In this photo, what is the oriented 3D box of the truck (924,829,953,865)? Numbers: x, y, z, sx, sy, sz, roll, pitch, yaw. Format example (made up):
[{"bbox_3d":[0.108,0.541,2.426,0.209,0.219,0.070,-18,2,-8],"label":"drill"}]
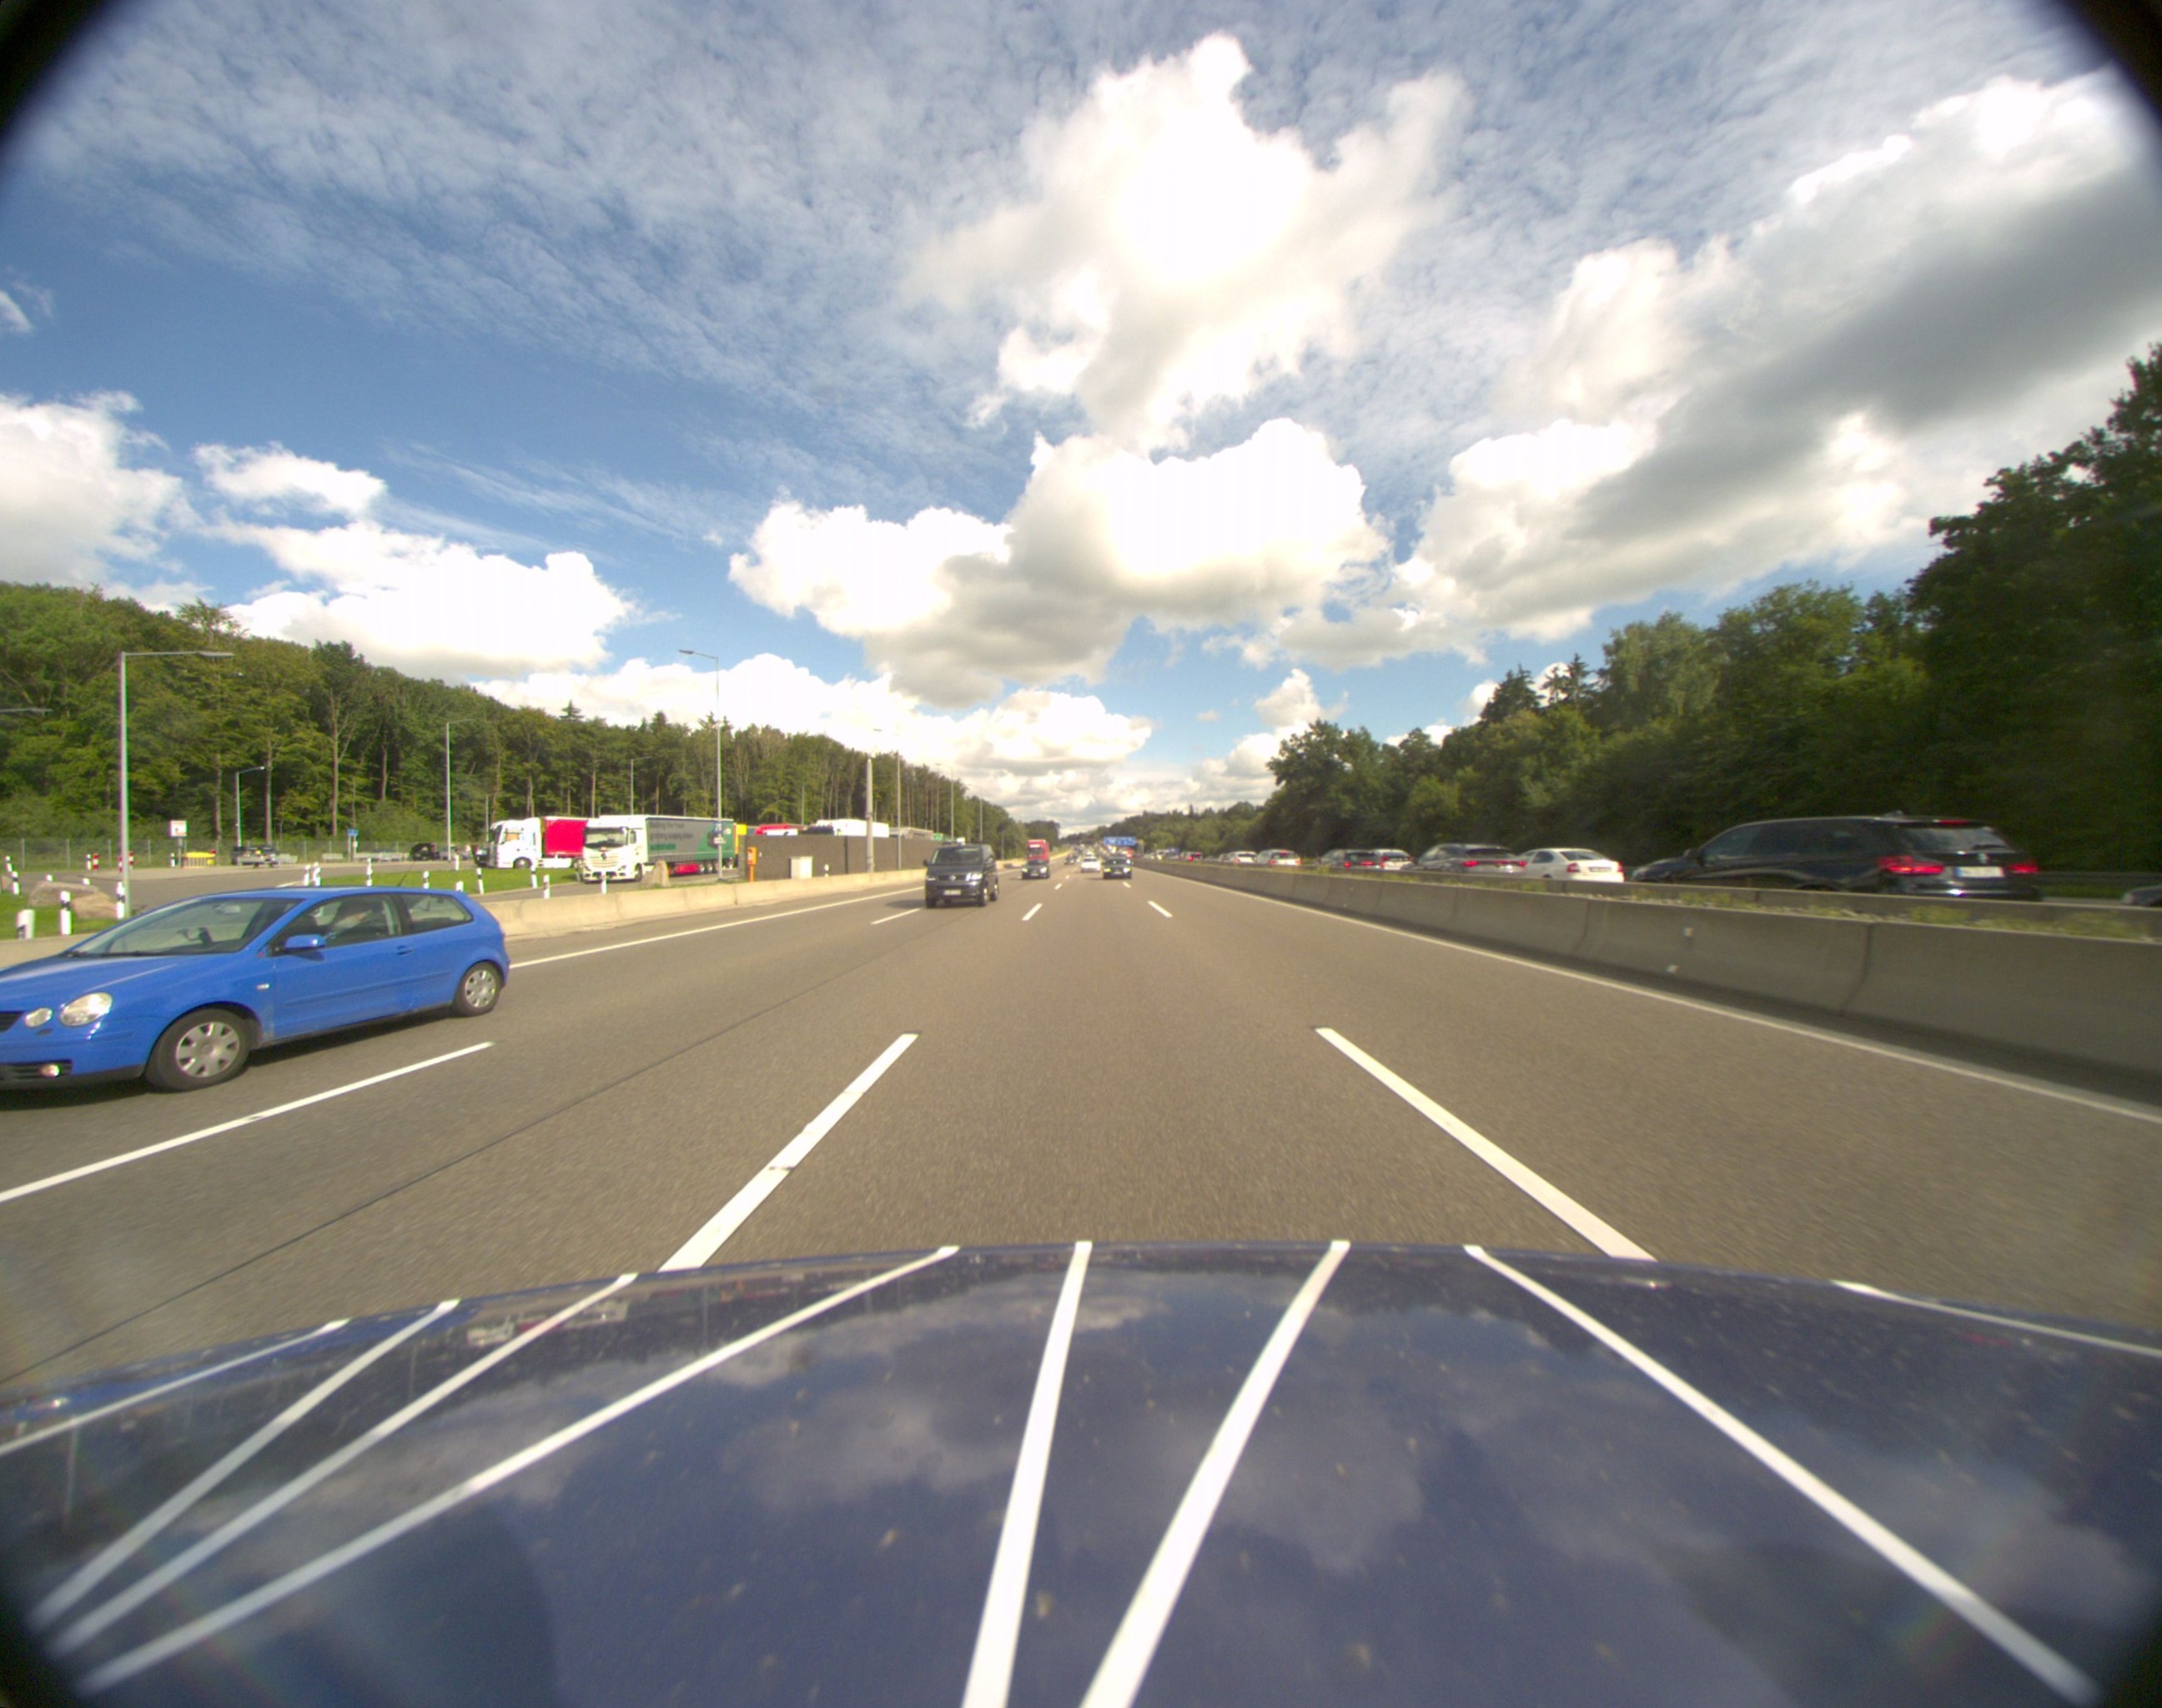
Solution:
[{"bbox_3d":[-19.945,-0.962,106.710,2.661,4.896,6.969,0,0,0],"label":"truck"}]

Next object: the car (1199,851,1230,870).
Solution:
[{"bbox_3d":[11.370,0.549,64.947,1.998,1.543,4.000,0,0,1],"label":"car"}]

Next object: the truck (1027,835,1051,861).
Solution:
[{"bbox_3d":[-6.266,-0.855,113.847,3.017,3.662,7.561,-1,0,1],"label":"truck"}]

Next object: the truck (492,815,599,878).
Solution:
[{"bbox_3d":[-40.216,-0.608,57.148,6.109,4.481,2.873,-2,1,-43],"label":"truck"}]

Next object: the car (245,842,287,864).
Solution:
[{"bbox_3d":[-62.751,-0.061,58.503,3.988,1.674,1.962,0,0,40],"label":"car"}]

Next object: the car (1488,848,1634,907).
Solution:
[{"bbox_3d":[14.491,0.639,23.294,1.672,1.608,4.550,0,0,1],"label":"car"}]

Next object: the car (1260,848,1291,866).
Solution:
[{"bbox_3d":[18.519,0.265,72.533,1.988,1.608,4.000,0,0,1],"label":"car"}]

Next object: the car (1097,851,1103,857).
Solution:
[{"bbox_3d":[6.575,-0.048,259.457,1.892,1.783,4.000,0,0,1],"label":"car"}]

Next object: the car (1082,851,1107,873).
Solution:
[{"bbox_3d":[1.180,0.690,69.697,2.153,1.800,5.098,-2,1,-1],"label":"car"}]

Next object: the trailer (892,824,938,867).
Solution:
[{"bbox_3d":[-19.984,-0.982,92.408,2.661,4.896,12.743,0,0,0],"label":"trailer"}]

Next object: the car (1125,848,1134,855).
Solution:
[{"bbox_3d":[11.291,-0.501,177.046,1.998,1.543,4.000,0,0,1],"label":"car"}]

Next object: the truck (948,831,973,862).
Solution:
[{"bbox_3d":[-19.597,-1.205,124.113,2.660,4.896,7.385,0,0,2],"label":"truck"}]

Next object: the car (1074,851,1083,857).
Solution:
[{"bbox_3d":[-0.678,-0.015,209.671,2.153,1.540,4.677,-1,0,1],"label":"car"}]

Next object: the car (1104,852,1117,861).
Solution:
[{"bbox_3d":[5.224,0.426,135.152,2.153,1.540,4.677,0,0,1],"label":"car"}]

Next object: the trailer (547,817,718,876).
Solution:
[{"bbox_3d":[-35.812,-0.667,61.231,11.406,4.348,2.838,-2,1,-42],"label":"trailer"}]

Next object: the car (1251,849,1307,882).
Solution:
[{"bbox_3d":[10.053,0.556,38.979,1.746,1.608,4.550,0,0,1],"label":"car"}]

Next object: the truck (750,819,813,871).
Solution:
[{"bbox_3d":[-27.382,-0.768,69.881,2.878,4.480,7.036,-1,0,1],"label":"truck"}]

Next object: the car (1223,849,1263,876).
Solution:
[{"bbox_3d":[9.985,0.511,47.005,1.665,1.608,4.000,0,0,1],"label":"car"}]

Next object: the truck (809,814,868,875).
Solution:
[{"bbox_3d":[-20.400,-0.746,64.390,2.661,4.896,6.985,0,0,0],"label":"truck"}]

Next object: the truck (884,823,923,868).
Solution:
[{"bbox_3d":[-20.043,-0.914,86.085,2.661,4.896,7.261,0,0,0],"label":"truck"}]

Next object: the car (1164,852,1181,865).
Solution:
[{"bbox_3d":[11.129,0.533,92.696,1.698,1.543,4.000,0,0,1],"label":"car"}]

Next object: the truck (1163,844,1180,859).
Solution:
[{"bbox_3d":[15.205,-0.452,128.291,2.368,2.444,5.239,0,0,1],"label":"truck"}]

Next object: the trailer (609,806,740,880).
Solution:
[{"bbox_3d":[-27.461,-0.666,52.368,2.880,4.480,12.996,0,0,-4],"label":"trailer"}]

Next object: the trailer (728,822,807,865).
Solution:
[{"bbox_3d":[-31.967,-1.052,78.222,2.999,4.001,12.077,-2,1,0],"label":"trailer"}]

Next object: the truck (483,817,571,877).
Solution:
[{"bbox_3d":[-43.325,-0.566,59.491,5.132,4.482,2.889,-1,1,-43],"label":"truck"}]

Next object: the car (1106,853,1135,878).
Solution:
[{"bbox_3d":[2.541,0.697,49.666,1.733,1.500,4.728,-2,0,1],"label":"car"}]

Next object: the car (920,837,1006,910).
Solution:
[{"bbox_3d":[-3.769,0.579,25.142,1.853,2.097,4.933,-2,0,2],"label":"car"}]

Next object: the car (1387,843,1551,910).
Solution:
[{"bbox_3d":[10.219,0.540,20.499,2.176,1.608,4.550,0,0,1],"label":"car"}]

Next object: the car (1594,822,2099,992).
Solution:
[{"bbox_3d":[10.578,0.598,11.394,2.176,1.936,5.396,0,0,1],"label":"car"}]

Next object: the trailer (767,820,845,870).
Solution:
[{"bbox_3d":[-27.359,-0.840,76.530,2.879,4.480,13.691,-1,0,0],"label":"trailer"}]

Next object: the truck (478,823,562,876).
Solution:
[{"bbox_3d":[-45.542,-0.372,61.777,5.181,4.093,2.565,-1,1,-43],"label":"truck"}]

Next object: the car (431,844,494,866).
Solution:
[{"bbox_3d":[-56.455,0.102,69.404,3.997,1.904,2.000,0,0,-1],"label":"car"}]

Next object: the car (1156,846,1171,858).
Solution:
[{"bbox_3d":[11.173,-0.230,103.199,1.634,1.543,4.000,0,0,1],"label":"car"}]

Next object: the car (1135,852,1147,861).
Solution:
[{"bbox_3d":[11.294,0.485,144.084,1.998,1.543,4.000,0,0,1],"label":"car"}]

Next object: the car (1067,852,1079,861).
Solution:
[{"bbox_3d":[-1.609,0.505,146.929,2.153,1.540,4.677,-1,0,1],"label":"car"}]

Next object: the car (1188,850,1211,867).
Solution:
[{"bbox_3d":[11.462,0.410,73.714,1.642,1.543,4.000,0,0,1],"label":"car"}]

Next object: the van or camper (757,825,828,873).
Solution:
[{"bbox_3d":[-20.100,-0.343,53.204,2.392,3.179,4.746,-1,0,12],"label":"van or camper"}]

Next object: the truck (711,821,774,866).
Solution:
[{"bbox_3d":[-31.993,-0.981,72.098,2.982,4.001,6.254,-2,1,0],"label":"truck"}]

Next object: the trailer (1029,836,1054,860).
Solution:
[{"bbox_3d":[-6.165,-0.906,120.565,3.017,3.662,13.576,-1,0,1],"label":"trailer"}]

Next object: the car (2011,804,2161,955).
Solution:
[{"bbox_3d":[14.209,0.303,8.104,2.176,1.828,5.259,0,0,1],"label":"car"}]

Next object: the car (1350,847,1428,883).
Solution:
[{"bbox_3d":[14.719,0.493,36.610,1.998,1.608,4.550,0,0,1],"label":"car"}]

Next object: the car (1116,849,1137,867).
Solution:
[{"bbox_3d":[5.087,0.439,85.361,2.152,1.800,5.099,-2,1,3],"label":"car"}]

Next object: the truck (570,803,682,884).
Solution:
[{"bbox_3d":[-27.011,-0.607,45.593,2.880,4.480,7.173,0,0,-5],"label":"truck"}]

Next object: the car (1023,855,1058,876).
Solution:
[{"bbox_3d":[-2.866,0.815,54.876,2.153,1.426,5.099,0,0,1],"label":"car"}]

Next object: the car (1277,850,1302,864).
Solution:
[{"bbox_3d":[23.637,0.368,86.237,1.780,1.543,4.000,0,0,1],"label":"car"}]

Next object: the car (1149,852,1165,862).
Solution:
[{"bbox_3d":[11.354,0.411,114.008,1.998,1.543,4.000,0,0,1],"label":"car"}]

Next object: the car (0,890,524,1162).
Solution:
[{"bbox_3d":[-7.147,1.147,6.555,1.654,1.433,4.000,-2,0,1],"label":"car"}]

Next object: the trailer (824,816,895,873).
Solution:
[{"bbox_3d":[-20.364,-0.817,70.913,2.661,4.896,13.111,0,0,0],"label":"trailer"}]

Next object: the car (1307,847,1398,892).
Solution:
[{"bbox_3d":[10.563,0.562,29.904,1.998,1.608,4.550,0,0,1],"label":"car"}]
